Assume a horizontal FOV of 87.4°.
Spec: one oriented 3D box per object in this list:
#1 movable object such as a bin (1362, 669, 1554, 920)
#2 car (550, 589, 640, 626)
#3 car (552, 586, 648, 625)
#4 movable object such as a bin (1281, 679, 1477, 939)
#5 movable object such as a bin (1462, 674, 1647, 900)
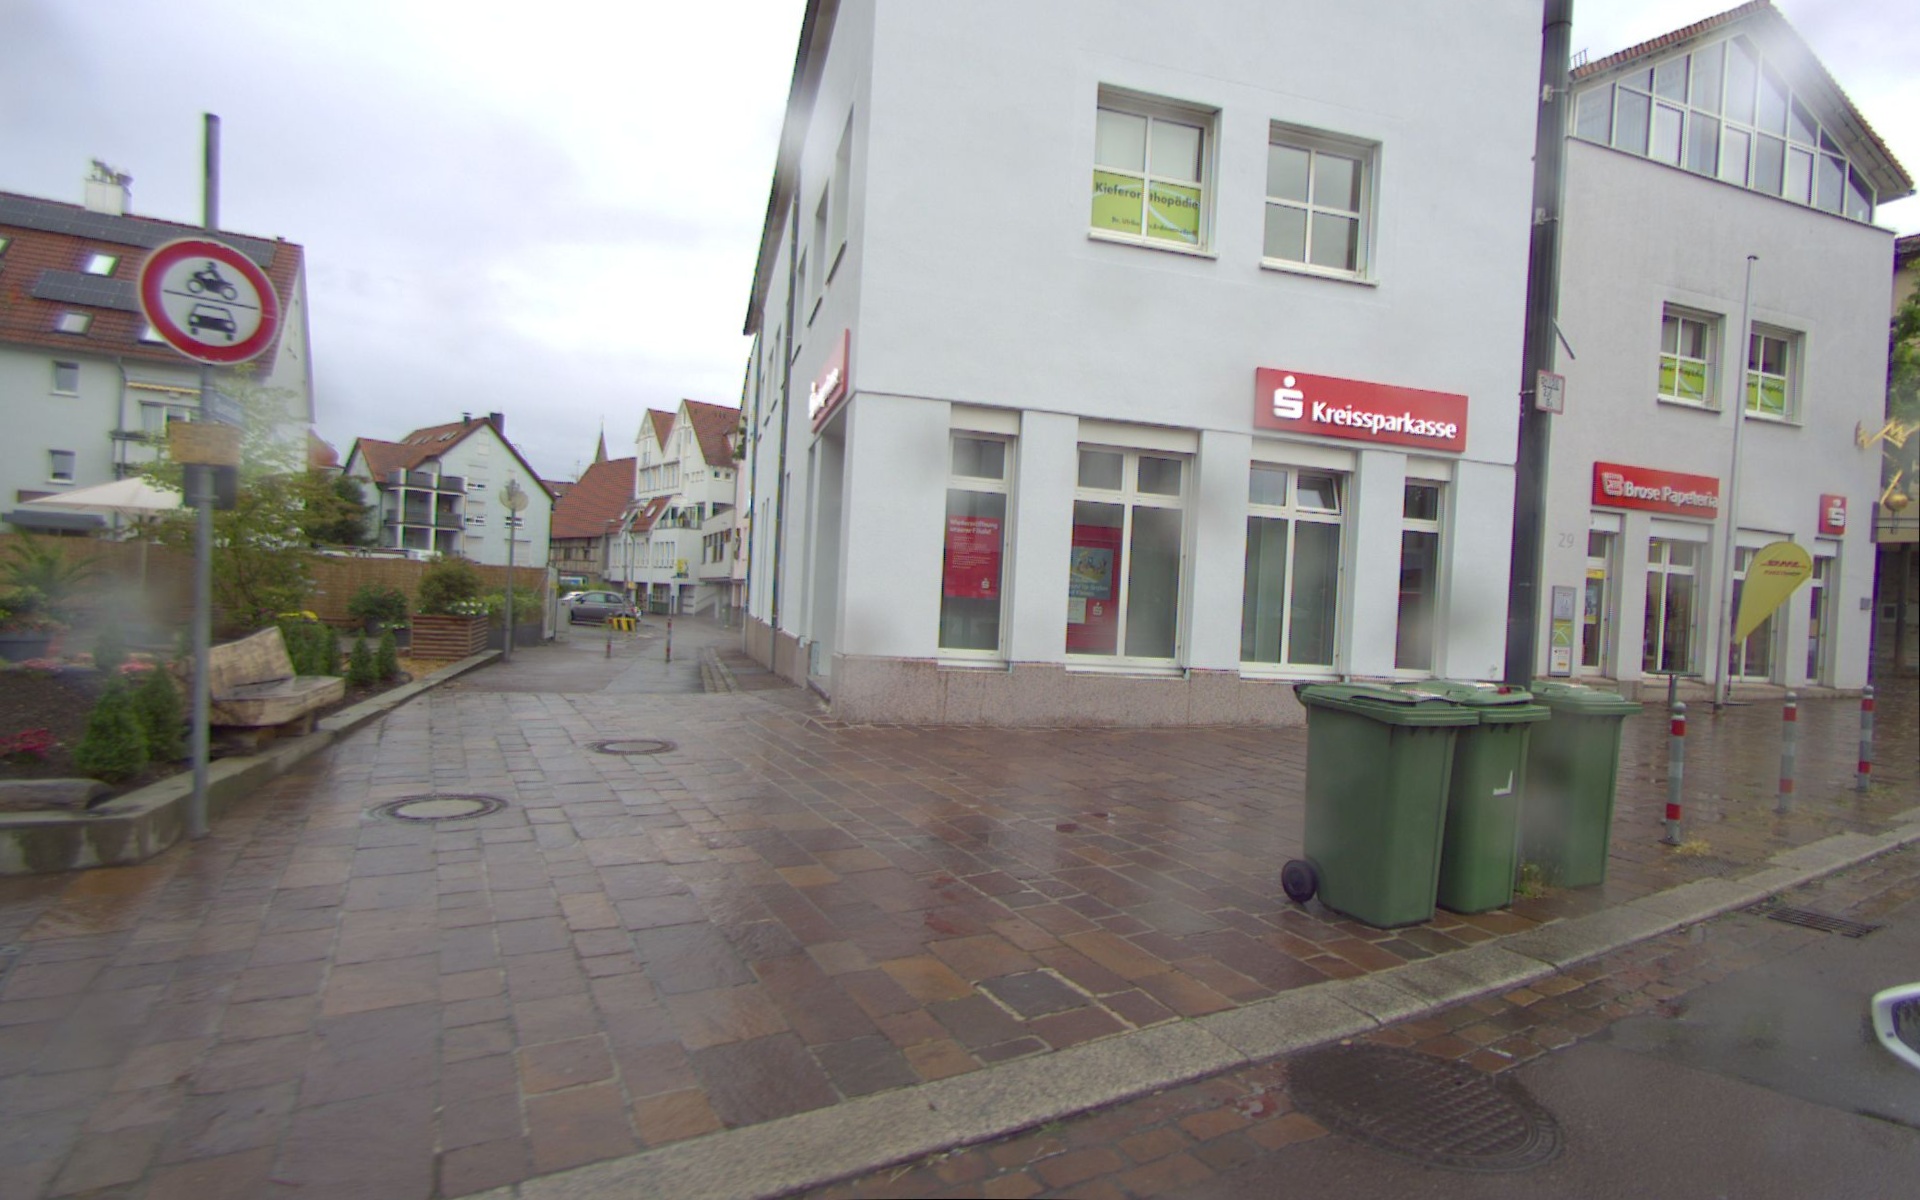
[{"bbox_3d":[2.519,0.937,5.108,0.546,1.129,0.656,2,0,-28],"label":"movable object such as a bin"},{"bbox_3d":[-15.386,0.309,42.421,3.483,1.439,1.605,2,0,-21],"label":"car"},{"bbox_3d":[-14.412,0.232,40.283,3.483,1.439,1.605,2,0,-21],"label":"car"},{"bbox_3d":[2.007,0.954,4.849,0.546,1.097,0.656,2,0,-28],"label":"movable object such as a bin"},{"bbox_3d":[3.300,0.991,5.598,0.606,1.110,0.655,2,0,-30],"label":"movable object such as a bin"}]
